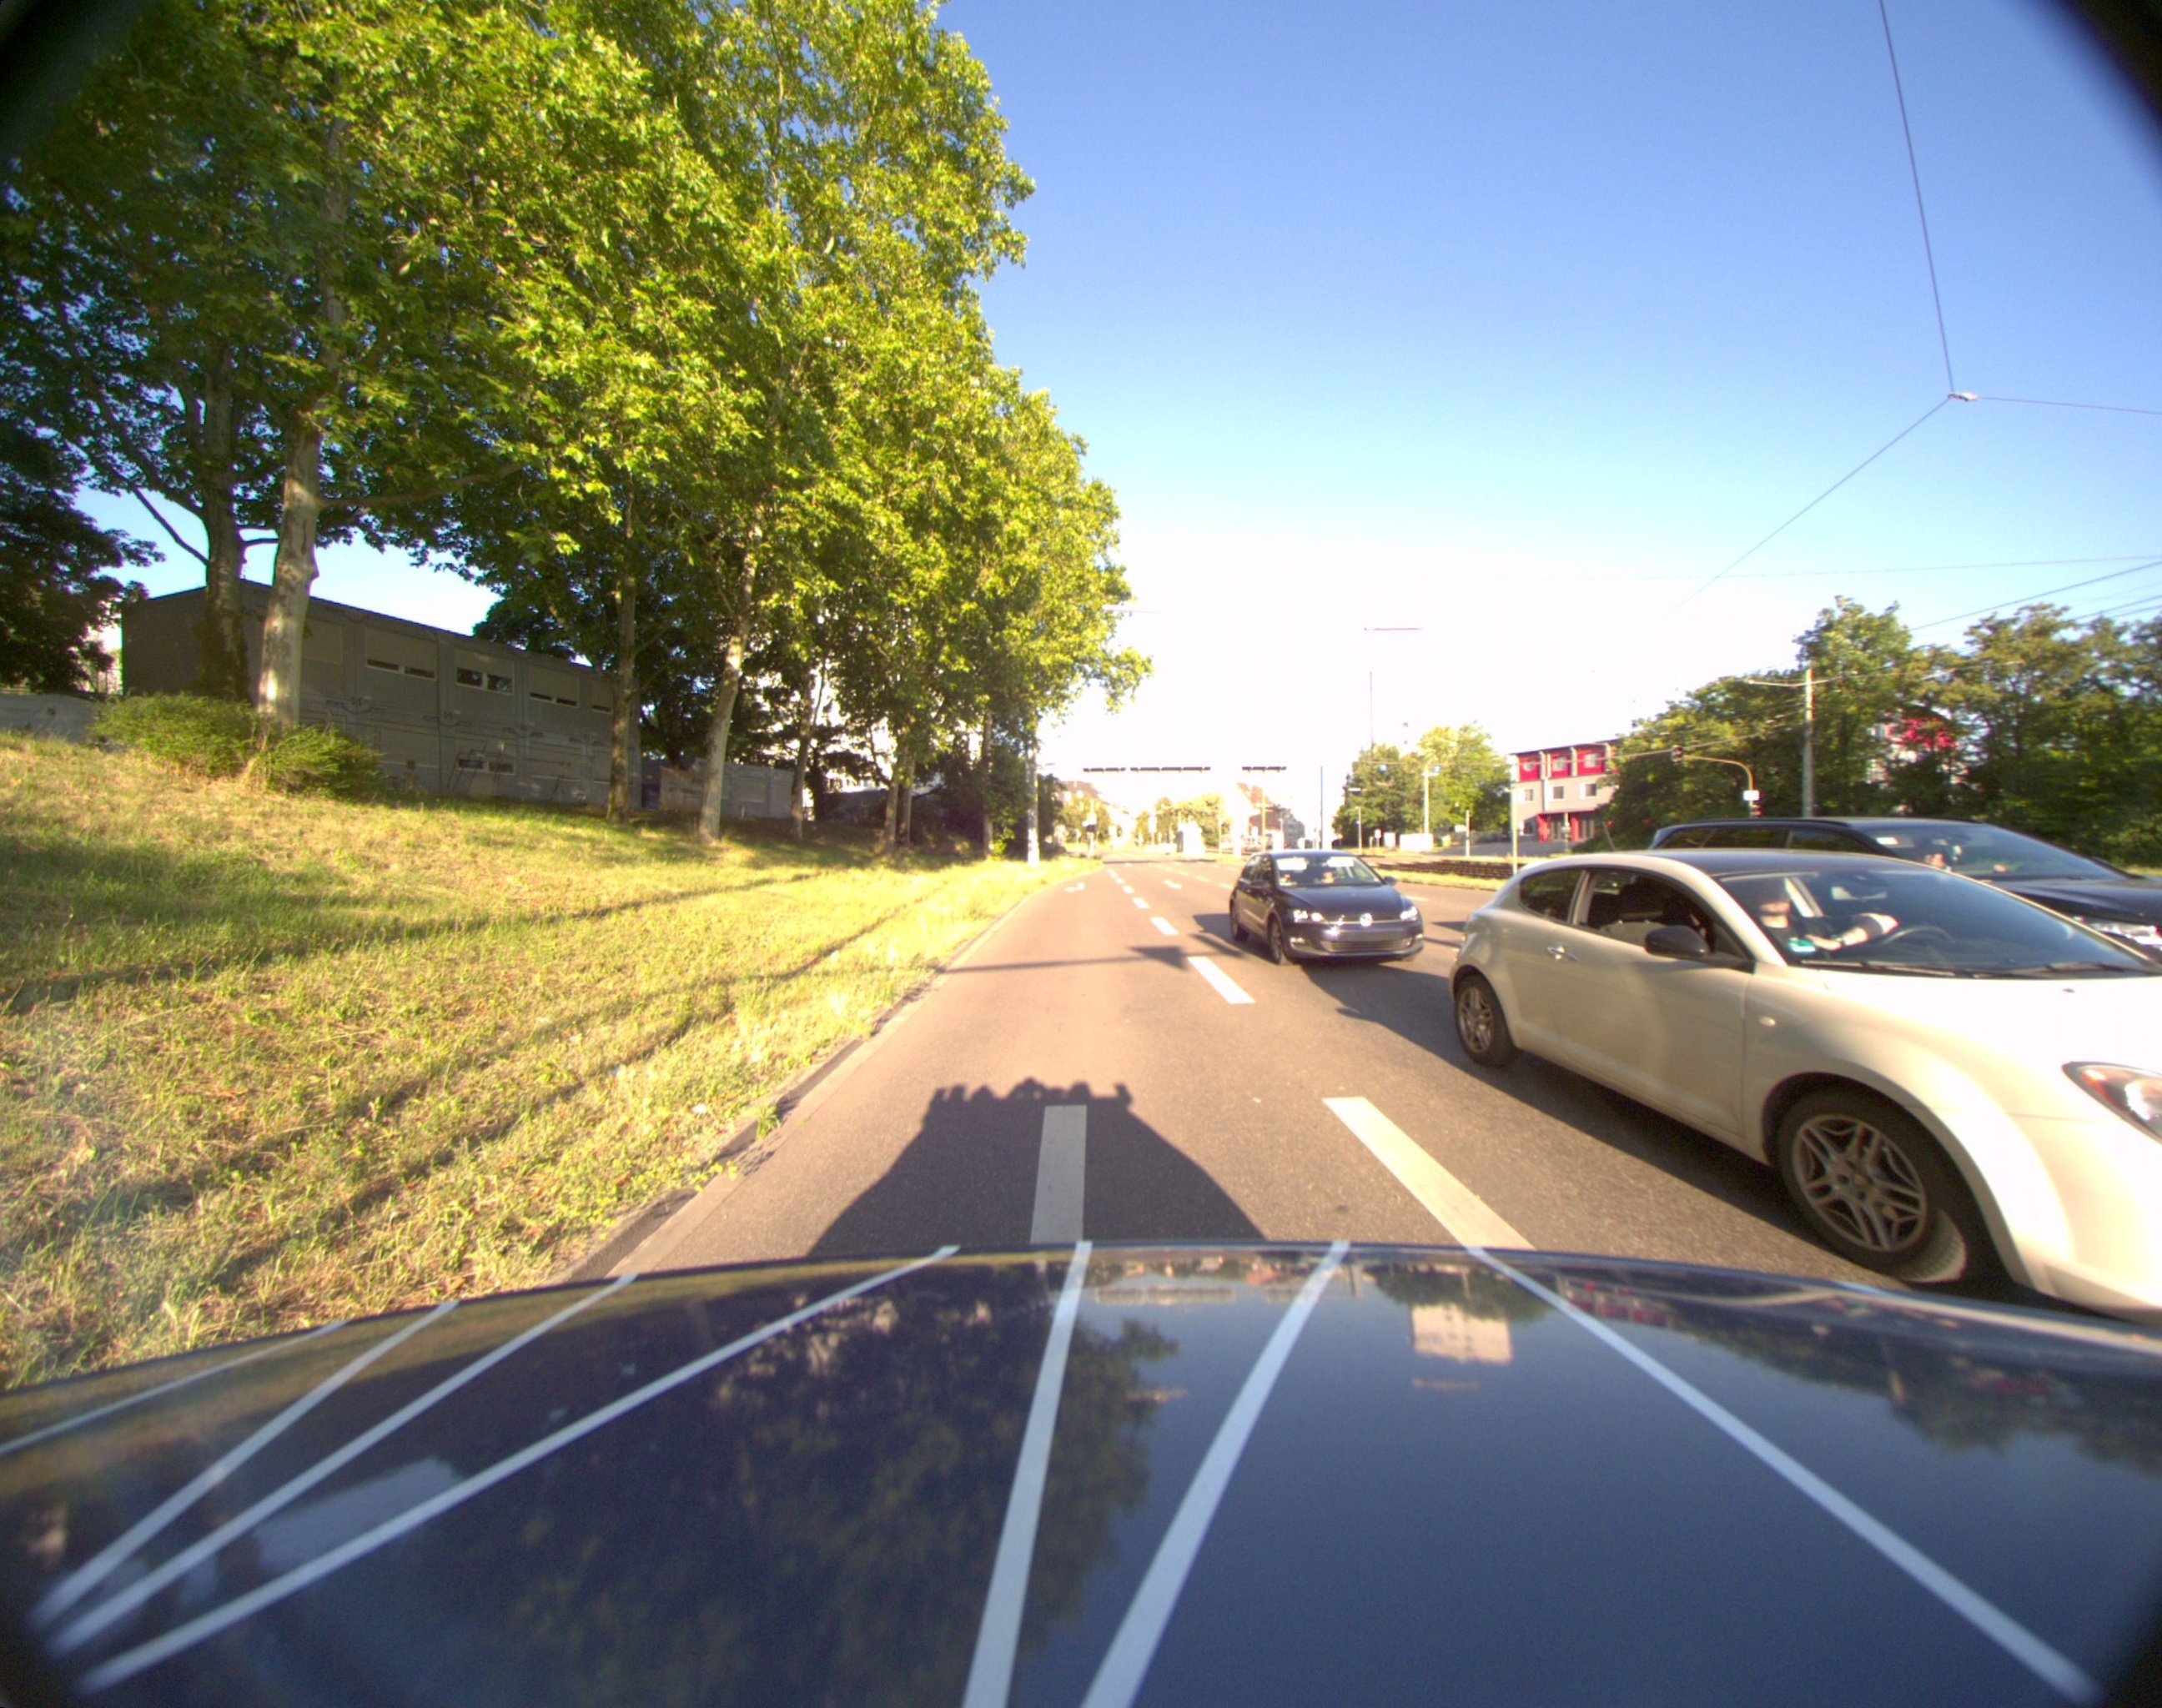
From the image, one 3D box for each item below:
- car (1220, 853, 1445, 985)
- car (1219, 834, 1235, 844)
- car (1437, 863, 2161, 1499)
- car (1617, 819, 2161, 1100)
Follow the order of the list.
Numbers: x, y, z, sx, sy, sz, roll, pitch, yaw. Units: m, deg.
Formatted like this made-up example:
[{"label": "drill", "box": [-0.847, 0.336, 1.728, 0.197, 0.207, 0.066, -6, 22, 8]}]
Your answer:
[{"label": "car", "box": [3.209, 0.734, 10.571, 1.782, 1.422, 3.923, -1, 1, -1]}, {"label": "car", "box": [32.196, -3.313, 167.621, 1.995, 2.002, 4.007, -1, 1, 33]}, {"label": "car", "box": [3.428, 0.817, 3.527, 1.665, 1.422, 3.923, -1, 1, -1]}, {"label": "car", "box": [7.234, 0.569, 6.694, 1.920, 1.639, 4.602, -1, 1, 2]}]
